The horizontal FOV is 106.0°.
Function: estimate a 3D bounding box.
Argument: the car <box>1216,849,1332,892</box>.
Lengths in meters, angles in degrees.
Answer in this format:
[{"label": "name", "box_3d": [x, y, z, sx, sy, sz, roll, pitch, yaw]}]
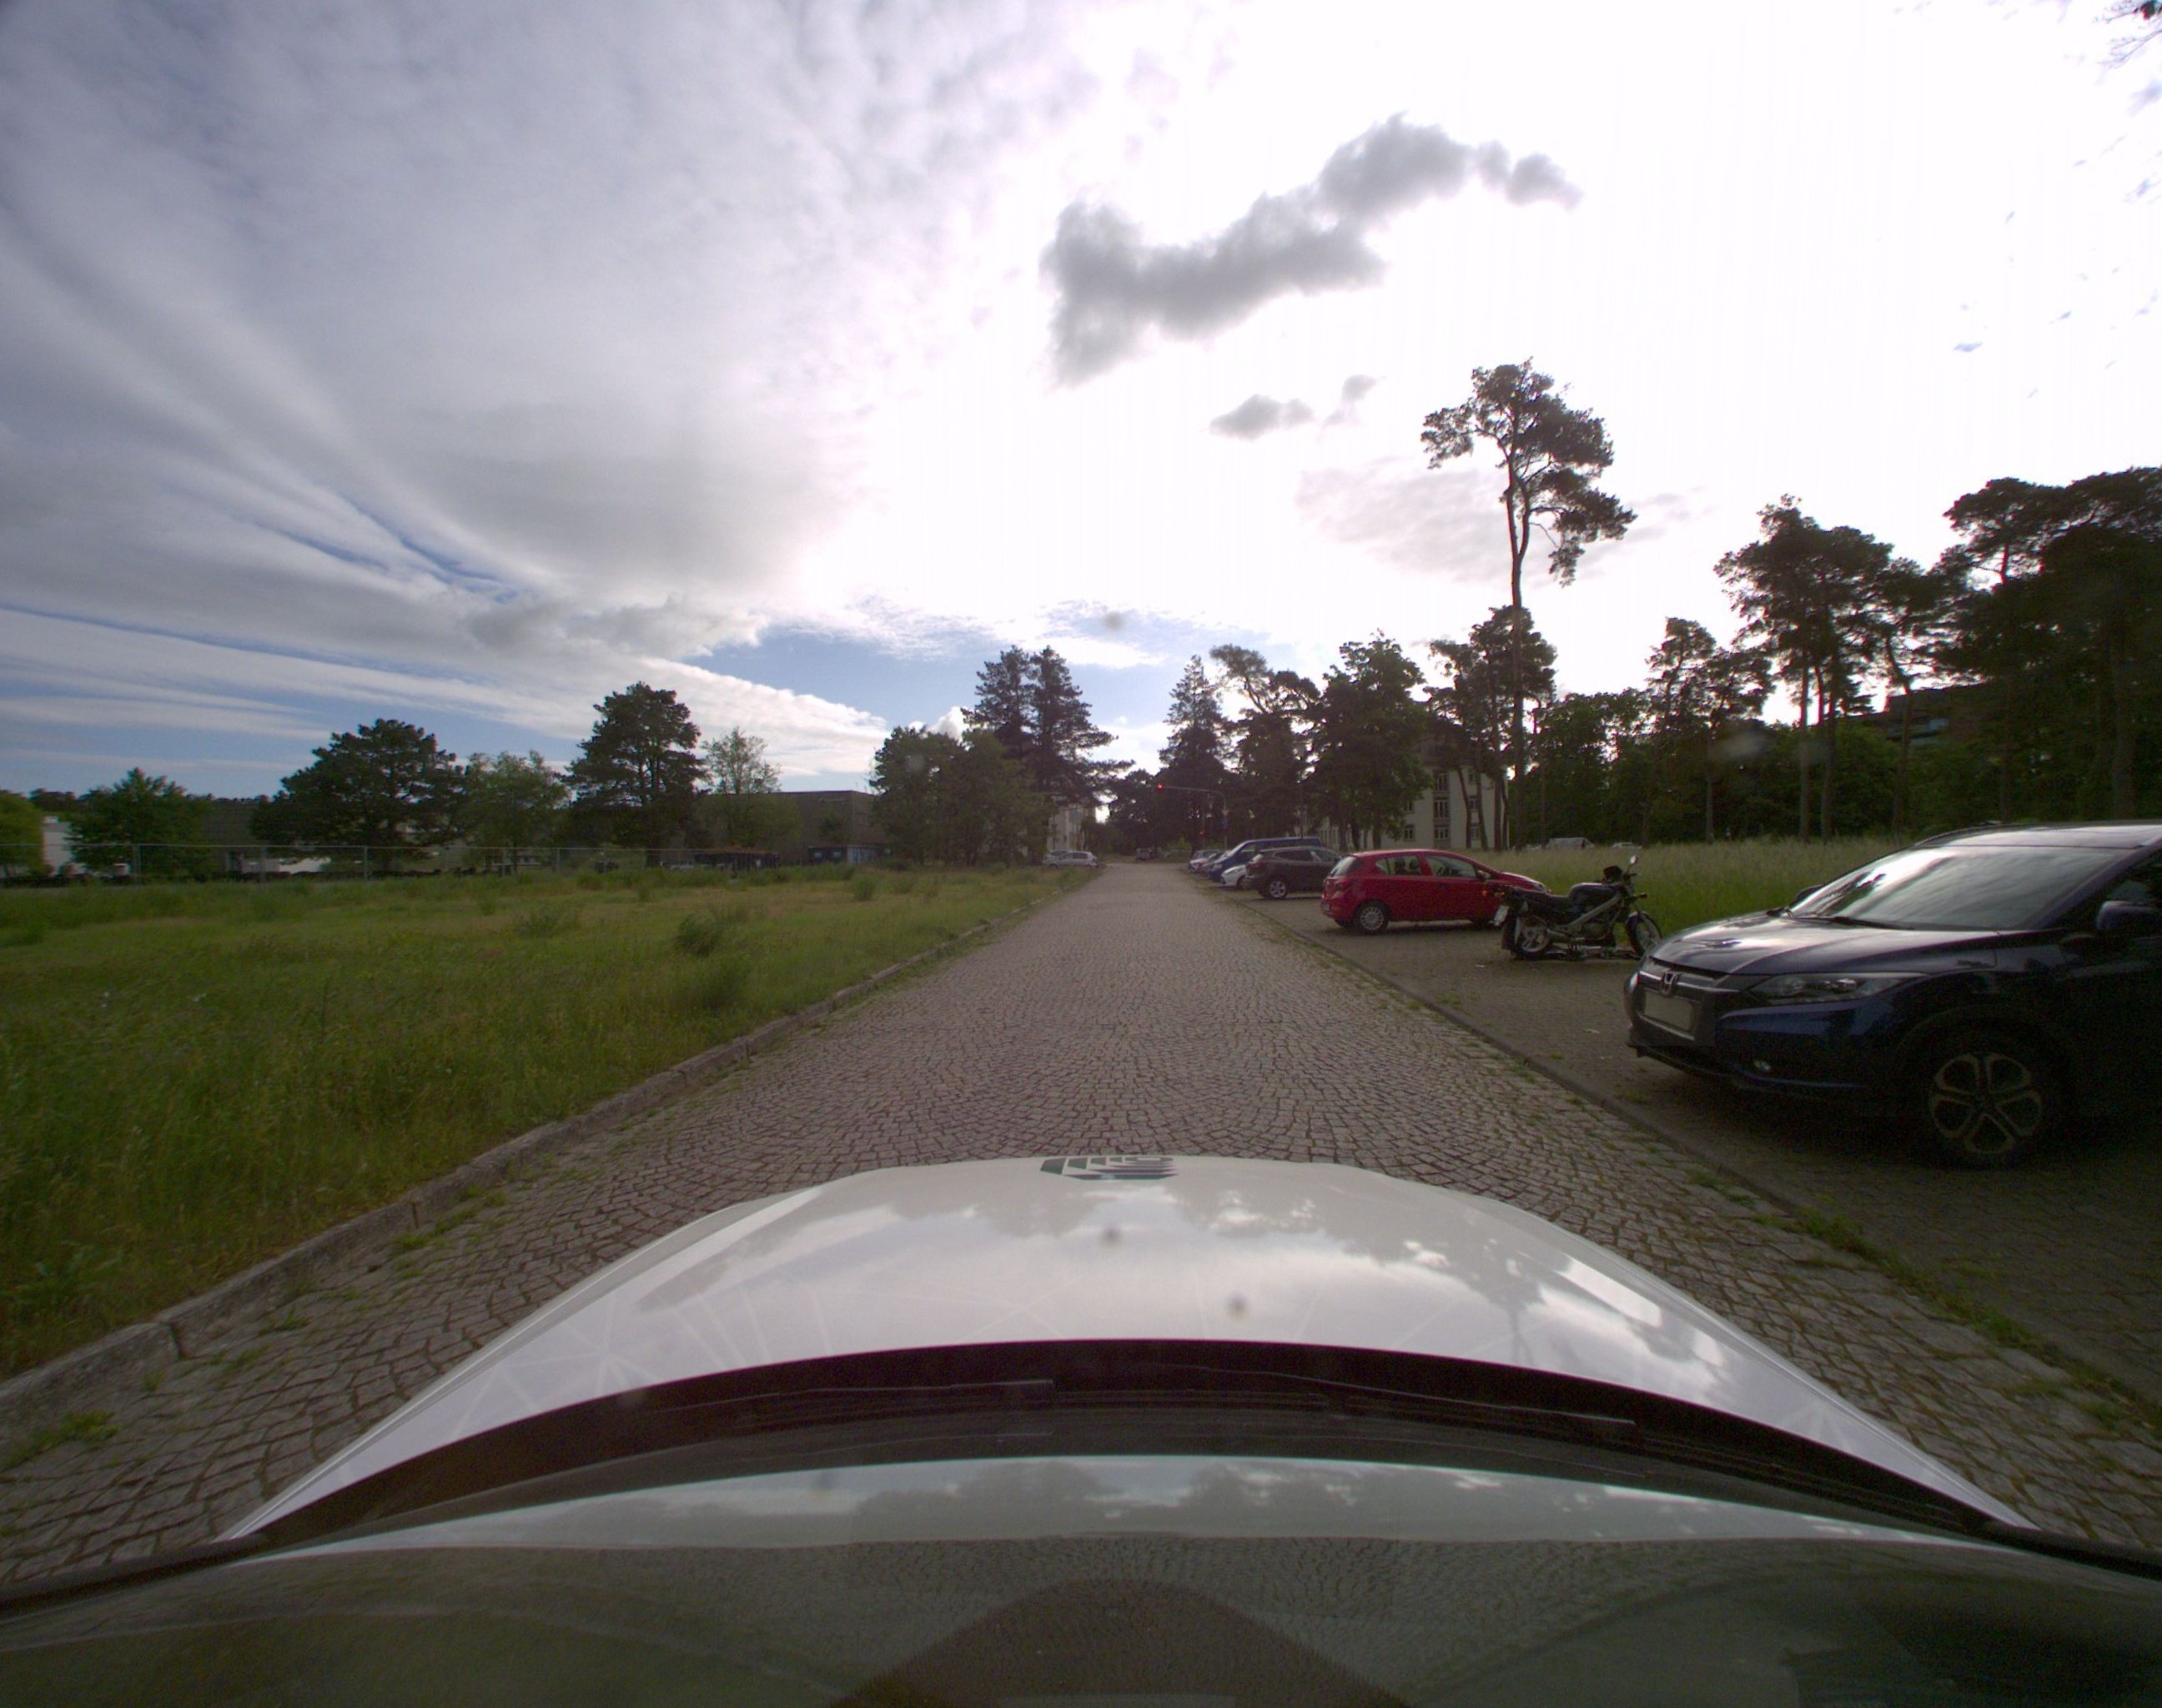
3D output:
[{"label": "car", "box_3d": [7.428, 0.632, 31.589, 4.083, 1.479, 1.722, -2, 0, 1]}]

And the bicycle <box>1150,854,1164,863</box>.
[{"label": "bicycle", "box_3d": [10.253, 0.611, 110.052, 1.876, 1.171, 0.664, 0, 0, -2]}]

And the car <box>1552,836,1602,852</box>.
[{"label": "car", "box_3d": [65.374, -1.336, 107.443, 5.275, 2.019, 2.108, 0, 0, 5]}]

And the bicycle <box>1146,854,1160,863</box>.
[{"label": "bicycle", "box_3d": [10.017, 0.618, 113.576, 1.876, 1.171, 0.664, 0, 0, -2]}]

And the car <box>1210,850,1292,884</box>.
[{"label": "car", "box_3d": [8.181, 0.600, 39.419, 3.637, 1.479, 1.767, -2, 0, 4]}]

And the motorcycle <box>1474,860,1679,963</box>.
[{"label": "motorcycle", "box_3d": [6.313, 0.724, 10.436, 2.221, 1.202, 0.568, -2, 0, 2]}]

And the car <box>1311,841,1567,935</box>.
[{"label": "car", "box_3d": [6.413, 0.584, 14.938, 3.907, 1.496, 1.786, -2, 0, 2]}]

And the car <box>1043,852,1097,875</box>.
[{"label": "car", "box_3d": [-0.722, 0.659, 57.545, 3.707, 1.481, 1.674, 1, 0, 1]}]

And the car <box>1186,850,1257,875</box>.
[{"label": "car", "box_3d": [9.014, 0.566, 52.510, 4.176, 1.437, 1.753, -2, 0, -3]}]

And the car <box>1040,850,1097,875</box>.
[{"label": "car", "box_3d": [-0.971, 0.657, 62.981, 4.286, 1.732, 1.652, -2, 0, -1]}]

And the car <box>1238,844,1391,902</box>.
[{"label": "car", "box_3d": [7.144, 0.568, 25.230, 4.187, 1.595, 1.954, -2, 0, 2]}]

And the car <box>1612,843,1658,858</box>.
[{"label": "car", "box_3d": [65.718, -0.385, 96.648, 4.112, 1.804, 1.903, 0, 0, 6]}]

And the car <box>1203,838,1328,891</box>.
[{"label": "car", "box_3d": [7.641, 0.417, 34.129, 4.777, 2.004, 1.967, -2, 0, 2]}]

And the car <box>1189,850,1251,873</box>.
[{"label": "car", "box_3d": [9.841, 0.511, 57.794, 4.123, 1.463, 1.633, -2, 0, -1]}]

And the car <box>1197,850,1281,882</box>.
[{"label": "car", "box_3d": [8.167, 0.611, 42.334, 4.111, 1.447, 1.768, -2, 0, 4]}]

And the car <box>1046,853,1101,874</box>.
[{"label": "car", "box_3d": [-0.594, 0.736, 65.418, 4.286, 1.554, 1.811, -2, 0, -2]}]

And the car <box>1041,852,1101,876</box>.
[{"label": "car", "box_3d": [-0.753, 0.727, 60.152, 4.286, 1.554, 1.811, -2, 0, -2]}]

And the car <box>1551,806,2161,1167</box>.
[{"label": "car", "box_3d": [5.372, 0.575, 4.668, 4.228, 1.623, 1.888, -2, 0, 2]}]

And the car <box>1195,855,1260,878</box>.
[{"label": "car", "box_3d": [8.568, 0.712, 47.819, 3.569, 1.223, 1.631, -2, 0, 5]}]

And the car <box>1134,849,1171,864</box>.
[{"label": "car", "box_3d": [10.952, 0.416, 124.861, 5.373, 2.101, 2.172, -1, 0, -8]}]

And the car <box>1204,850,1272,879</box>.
[{"label": "car", "box_3d": [8.686, 0.568, 45.177, 3.490, 1.487, 1.745, -2, 0, 3]}]
